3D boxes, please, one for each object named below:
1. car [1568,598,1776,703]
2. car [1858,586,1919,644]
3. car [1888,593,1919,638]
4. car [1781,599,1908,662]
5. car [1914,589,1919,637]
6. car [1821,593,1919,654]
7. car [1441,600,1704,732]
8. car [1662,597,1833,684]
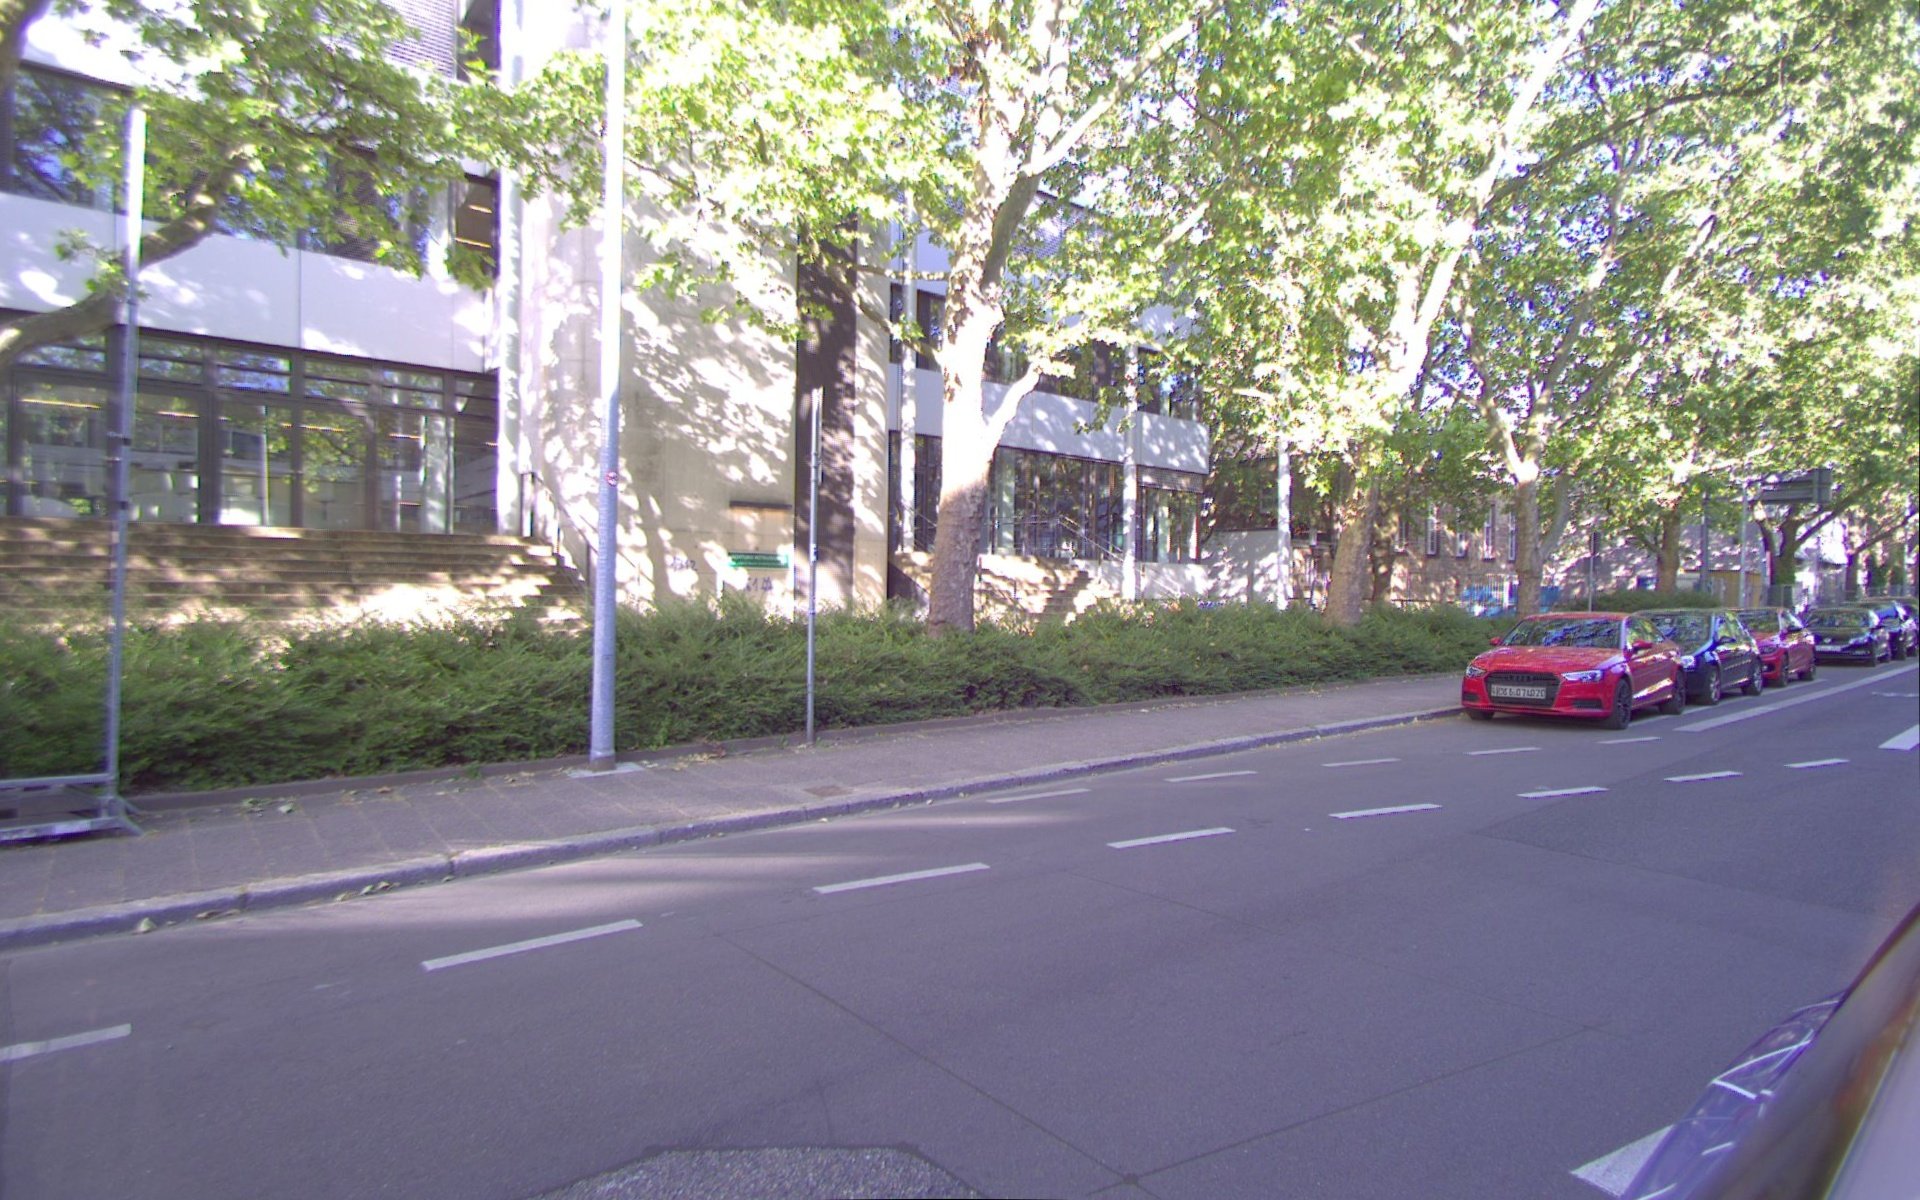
[{"bbox_3d":[11.720,0.731,16.600,3.581,1.478,1.997,-1,1,-41],"label":"car"},{"bbox_3d":[31.263,0.452,33.312,4.493,1.809,1.997,-1,0,-41],"label":"car"},{"bbox_3d":[35.985,0.560,37.451,4.070,1.585,1.997,-1,1,-41],"label":"car"},{"bbox_3d":[22.799,0.724,26.062,3.527,1.474,1.997,-1,1,-41],"label":"car"},{"bbox_3d":[39.617,0.487,40.298,3.930,1.872,1.997,-1,0,-41],"label":"car"},{"bbox_3d":[26.525,0.611,29.183,4.070,1.621,1.997,-1,0,-41],"label":"car"},{"bbox_3d":[8.257,0.753,13.524,3.930,1.443,1.906,-1,1,-41],"label":"car"},{"bbox_3d":[15.647,0.719,20.054,3.762,1.517,1.997,-1,1,-41],"label":"car"}]
